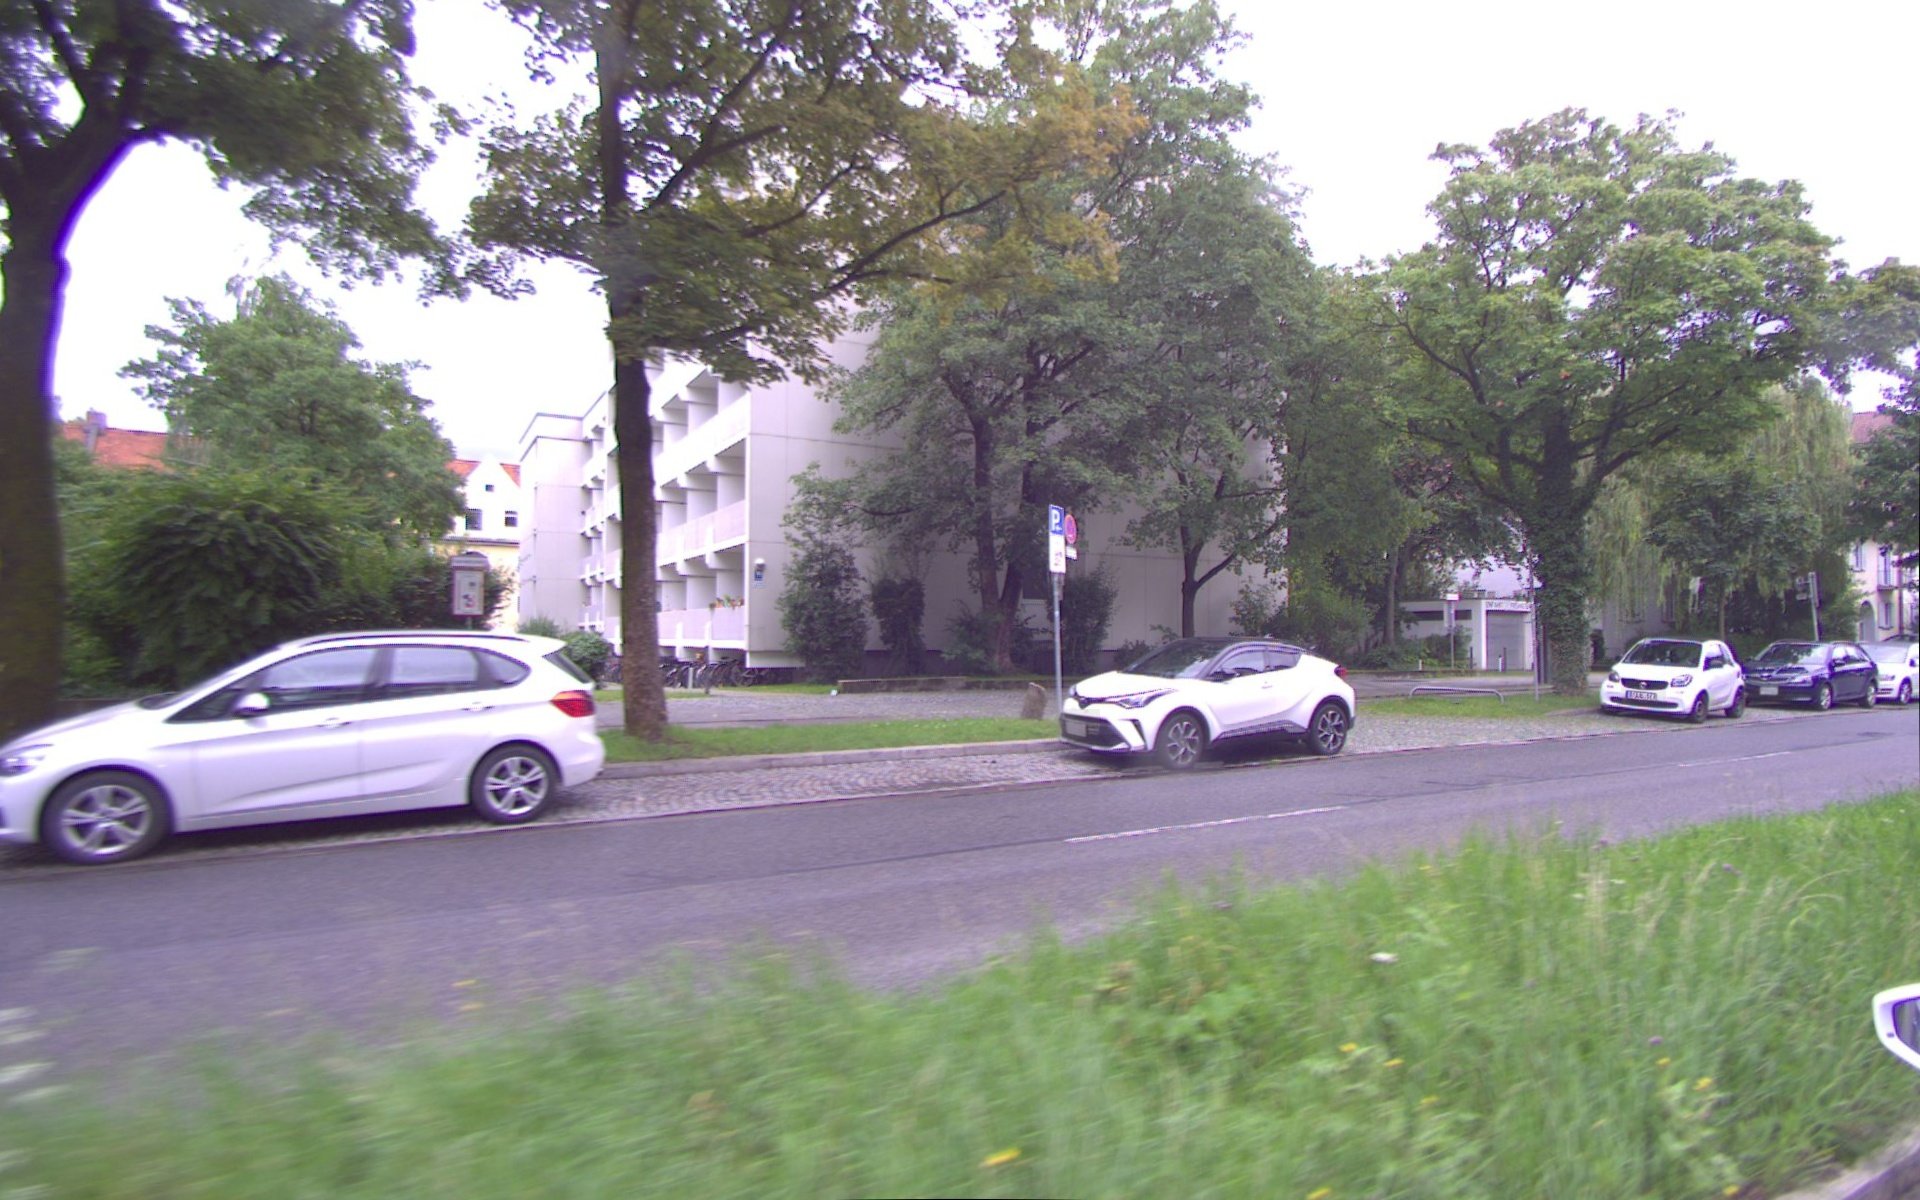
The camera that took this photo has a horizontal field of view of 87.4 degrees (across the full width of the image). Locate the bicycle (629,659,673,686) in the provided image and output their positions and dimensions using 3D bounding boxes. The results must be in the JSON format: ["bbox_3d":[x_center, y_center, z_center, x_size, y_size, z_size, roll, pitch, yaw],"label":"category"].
[{"bbox_3d":[-11.029,2.574,35.863,1.433,0.912,0.456,1,-2,-30],"label":"bicycle"}]

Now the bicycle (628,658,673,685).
[{"bbox_3d":[-10.761,2.480,34.986,1.433,0.912,0.456,1,-2,-30],"label":"bicycle"}]

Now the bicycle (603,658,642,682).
[{"bbox_3d":[-13.634,2.821,40.563,1.433,0.912,0.412,1,-2,-30],"label":"bicycle"}]

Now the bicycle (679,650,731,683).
[{"bbox_3d":[-7.478,1.940,29.467,1.433,0.912,0.456,1,-2,-30],"label":"bicycle"}]

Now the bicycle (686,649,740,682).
[{"bbox_3d":[-7.094,1.876,28.833,1.433,0.912,0.456,1,-2,-30],"label":"bicycle"}]

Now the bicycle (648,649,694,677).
[{"bbox_3d":[-9.628,2.092,33.484,1.433,0.912,0.456,1,-2,-30],"label":"bicycle"}]

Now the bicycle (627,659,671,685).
[{"bbox_3d":[-11.261,2.608,36.376,1.433,0.912,0.456,1,-2,-30],"label":"bicycle"}]

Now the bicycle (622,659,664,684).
[{"bbox_3d":[-11.858,2.675,37.579,1.433,0.912,0.456,1,-2,-30],"label":"bicycle"}]

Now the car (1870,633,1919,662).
[{"bbox_3d":[49.244,2.419,51.416,1.653,1.481,3.614,1,-2,-32],"label":"car"}]

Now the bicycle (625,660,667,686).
[{"bbox_3d":[-11.597,2.680,37.106,1.433,0.912,0.456,1,-2,-30],"label":"bicycle"}]

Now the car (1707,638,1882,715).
[{"bbox_3d":[18.780,1.648,22.577,4.165,1.495,1.666,1,1,-30],"label":"car"}]

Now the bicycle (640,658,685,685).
[{"bbox_3d":[-10.212,2.443,34.470,1.433,0.912,0.456,1,-2,-30],"label":"bicycle"}]

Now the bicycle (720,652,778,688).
[{"bbox_3d":[-5.594,1.854,26.673,1.433,0.912,0.456,1,-2,-30],"label":"bicycle"}]

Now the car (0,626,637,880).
[{"bbox_3d":[-5.167,1.057,8.364,4.438,1.616,1.748,1,0,-31],"label":"car"}]

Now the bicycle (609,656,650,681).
[{"bbox_3d":[-12.816,2.660,38.981,1.433,0.912,0.456,1,-2,-30],"label":"bicycle"}]

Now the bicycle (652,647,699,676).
[{"bbox_3d":[-9.330,2.007,32.937,1.433,0.912,0.456,1,-2,-30],"label":"bicycle"}]

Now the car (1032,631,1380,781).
[{"bbox_3d":[3.305,1.259,13.279,4.437,1.631,1.824,1,0,-30],"label":"car"}]

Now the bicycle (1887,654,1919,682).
[{"bbox_3d":[31.017,2.183,32.291,1.387,0.840,1.445,1,0,-30],"label":"bicycle"}]

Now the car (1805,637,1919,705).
[{"bbox_3d":[23.078,1.715,25.061,4.268,1.462,1.667,1,1,-30],"label":"car"}]

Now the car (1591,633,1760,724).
[{"bbox_3d":[14.213,1.484,19.945,3.045,1.586,1.681,1,1,-32],"label":"car"}]

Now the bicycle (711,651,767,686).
[{"bbox_3d":[-6.052,1.871,27.576,1.433,0.912,0.456,1,-2,-30],"label":"bicycle"}]

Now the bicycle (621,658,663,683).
[{"bbox_3d":[-12.037,2.674,38.050,1.433,0.912,0.456,1,-2,-30],"label":"bicycle"}]

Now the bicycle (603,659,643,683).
[{"bbox_3d":[-13.451,2.823,40.091,1.433,0.912,0.412,1,-2,-30],"label":"bicycle"}]

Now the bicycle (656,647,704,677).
[{"bbox_3d":[-9.002,1.987,32.280,1.433,0.912,0.456,1,-2,-30],"label":"bicycle"}]

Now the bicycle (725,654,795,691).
[{"bbox_3d":[-5.205,1.879,26.196,1.745,0.912,0.475,1,-2,-30],"label":"bicycle"}]

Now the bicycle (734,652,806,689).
[{"bbox_3d":[-4.872,1.806,25.800,1.745,0.912,0.475,1,-2,-30],"label":"bicycle"}]

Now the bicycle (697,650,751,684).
[{"bbox_3d":[-6.645,1.870,28.309,1.433,0.912,0.456,1,-2,-30],"label":"bicycle"}]

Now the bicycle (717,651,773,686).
[{"bbox_3d":[-5.799,1.847,27.124,1.433,0.912,0.456,1,-2,-30],"label":"bicycle"}]
